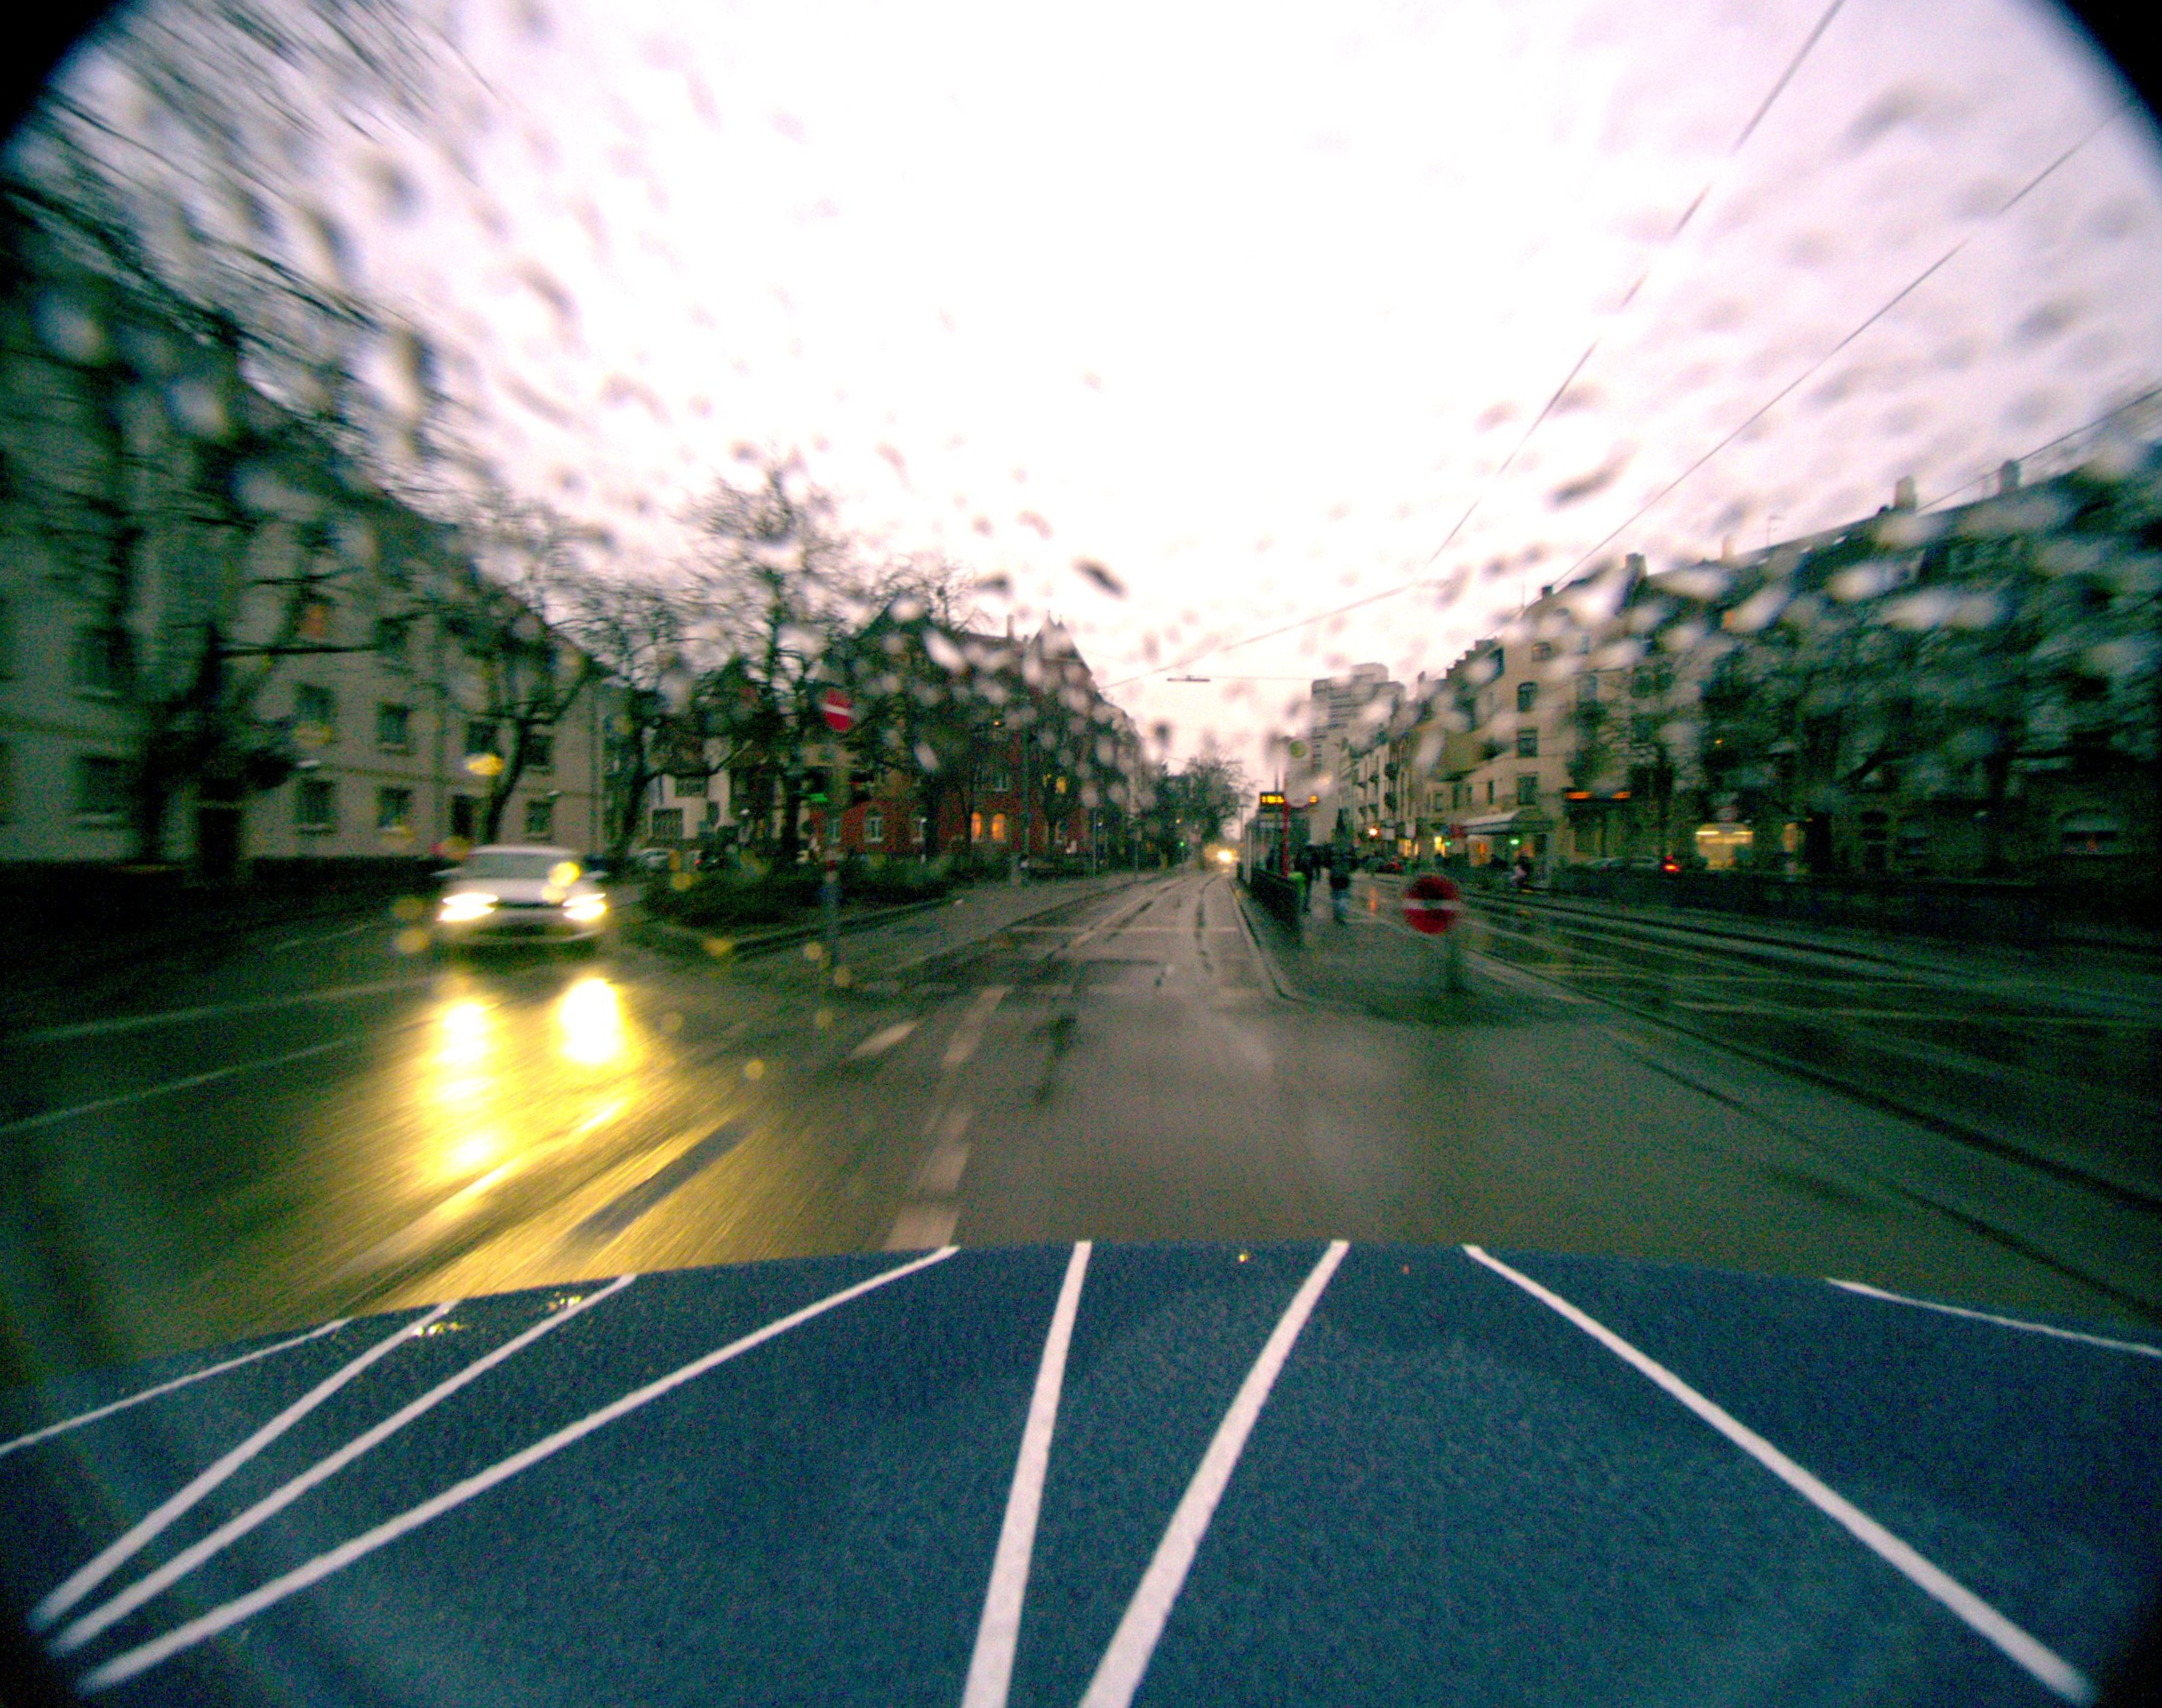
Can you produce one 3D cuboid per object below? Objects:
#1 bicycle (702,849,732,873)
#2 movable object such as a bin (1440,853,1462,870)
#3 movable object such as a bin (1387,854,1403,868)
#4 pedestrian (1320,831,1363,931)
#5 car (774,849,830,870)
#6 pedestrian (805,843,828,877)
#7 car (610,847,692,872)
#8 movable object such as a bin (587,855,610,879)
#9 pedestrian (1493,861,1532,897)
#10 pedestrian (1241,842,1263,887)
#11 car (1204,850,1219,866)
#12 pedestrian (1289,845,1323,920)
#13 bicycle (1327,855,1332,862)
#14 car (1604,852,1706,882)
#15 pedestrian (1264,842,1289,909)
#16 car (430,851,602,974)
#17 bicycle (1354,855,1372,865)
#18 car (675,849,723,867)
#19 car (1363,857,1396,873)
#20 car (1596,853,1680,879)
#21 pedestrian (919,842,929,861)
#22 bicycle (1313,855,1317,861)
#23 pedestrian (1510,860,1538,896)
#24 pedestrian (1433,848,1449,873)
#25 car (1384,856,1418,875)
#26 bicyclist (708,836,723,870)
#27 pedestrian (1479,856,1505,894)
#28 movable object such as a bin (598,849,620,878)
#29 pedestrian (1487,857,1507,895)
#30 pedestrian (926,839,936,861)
[{"bbox_3d":[-20.297,0.388,42.395,0.467,1.284,1.915,1,1,10],"label":"bicycle"},{"bbox_3d":[32.086,0.648,65.886,1.351,1.364,1.282,-2,0,9],"label":"movable object such as a bin"},{"bbox_3d":[32.327,0.689,78.183,1.238,1.423,1.075,-2,0,9],"label":"movable object such as a bin"},{"bbox_3d":[5.116,0.526,14.888,0.687,1.906,0.719,-2,0,22],"label":"pedestrian"},{"bbox_3d":[-20.458,0.391,55.684,3.988,1.487,1.651,1,0,30],"label":"car"},{"bbox_3d":[-14.456,0.321,41.485,0.876,1.853,0.816,2,1,38],"label":"pedestrian"},{"bbox_3d":[-26.836,0.356,47.506,1.845,1.477,4.009,1,0,38],"label":"car"},{"bbox_3d":[-20.047,0.530,31.576,0.528,0.975,0.651,1,1,-2],"label":"movable object such as a bin"},{"bbox_3d":[15.337,0.889,27.027,1.057,1.247,0.507,-2,0,10],"label":"pedestrian"},{"bbox_3d":[7.534,0.444,33.482,0.855,1.944,0.571,-2,0,11],"label":"pedestrian"},{"bbox_3d":[16.847,0.481,98.031,1.725,1.934,4.512,-2,0,9],"label":"car"},{"bbox_3d":[5.294,0.663,17.875,0.658,1.698,0.571,-2,0,11],"label":"pedestrian"},{"bbox_3d":[34.216,0.611,104.789,0.530,0.884,2.211,0,0,14],"label":"bicycle"},{"bbox_3d":[31.154,0.670,41.345,4.331,1.574,1.941,0,1,37],"label":"car"},{"bbox_3d":[5.395,0.592,21.002,0.558,1.797,0.571,-2,0,11],"label":"pedestrian"},{"bbox_3d":[-9.240,0.768,12.388,1.903,1.501,4.739,1,1,-39],"label":"car"},{"bbox_3d":[34.805,0.712,93.693,1.988,1.152,0.531,-2,0,10],"label":"bicycle"},{"bbox_3d":[-31.457,0.332,62.524,3.988,1.390,1.651,1,0,30],"label":"car"},{"bbox_3d":[28.423,1.029,72.372,1.805,1.382,4.511,-2,0,7],"label":"car"},{"bbox_3d":[33.110,0.733,45.235,1.617,1.464,3.816,-3,0,-45],"label":"car"},{"bbox_3d":[-10.919,-0.151,52.823,0.546,1.309,0.608,-1,0,-1],"label":"pedestrian"},{"bbox_3d":[36.778,0.622,119.214,0.434,1.001,1.883,0,1,12],"label":"bicycle"},{"bbox_3d":[15.374,0.844,26.390,0.653,1.211,0.517,-2,0,10],"label":"pedestrian"},{"bbox_3d":[28.073,0.526,59.293,0.896,1.867,0.796,-3,1,-44],"label":"pedestrian"},{"bbox_3d":[28.044,1.000,66.705,1.676,1.507,3.680,-2,0,4],"label":"car"},{"bbox_3d":[-20.298,-0.034,42.220,0.467,1.876,0.680,1,1,10],"label":"bicyclist"},{"bbox_3d":[15.488,0.797,28.652,0.685,1.395,0.579,-2,0,10],"label":"pedestrian"},{"bbox_3d":[-20.050,0.398,32.265,0.528,1.221,0.650,1,1,-2],"label":"movable object such as a bin"},{"bbox_3d":[15.401,0.802,28.142,0.473,1.395,0.454,-2,0,10],"label":"pedestrian"},{"bbox_3d":[-10.301,-0.271,52.225,0.546,1.517,0.644,-1,0,0],"label":"pedestrian"}]
